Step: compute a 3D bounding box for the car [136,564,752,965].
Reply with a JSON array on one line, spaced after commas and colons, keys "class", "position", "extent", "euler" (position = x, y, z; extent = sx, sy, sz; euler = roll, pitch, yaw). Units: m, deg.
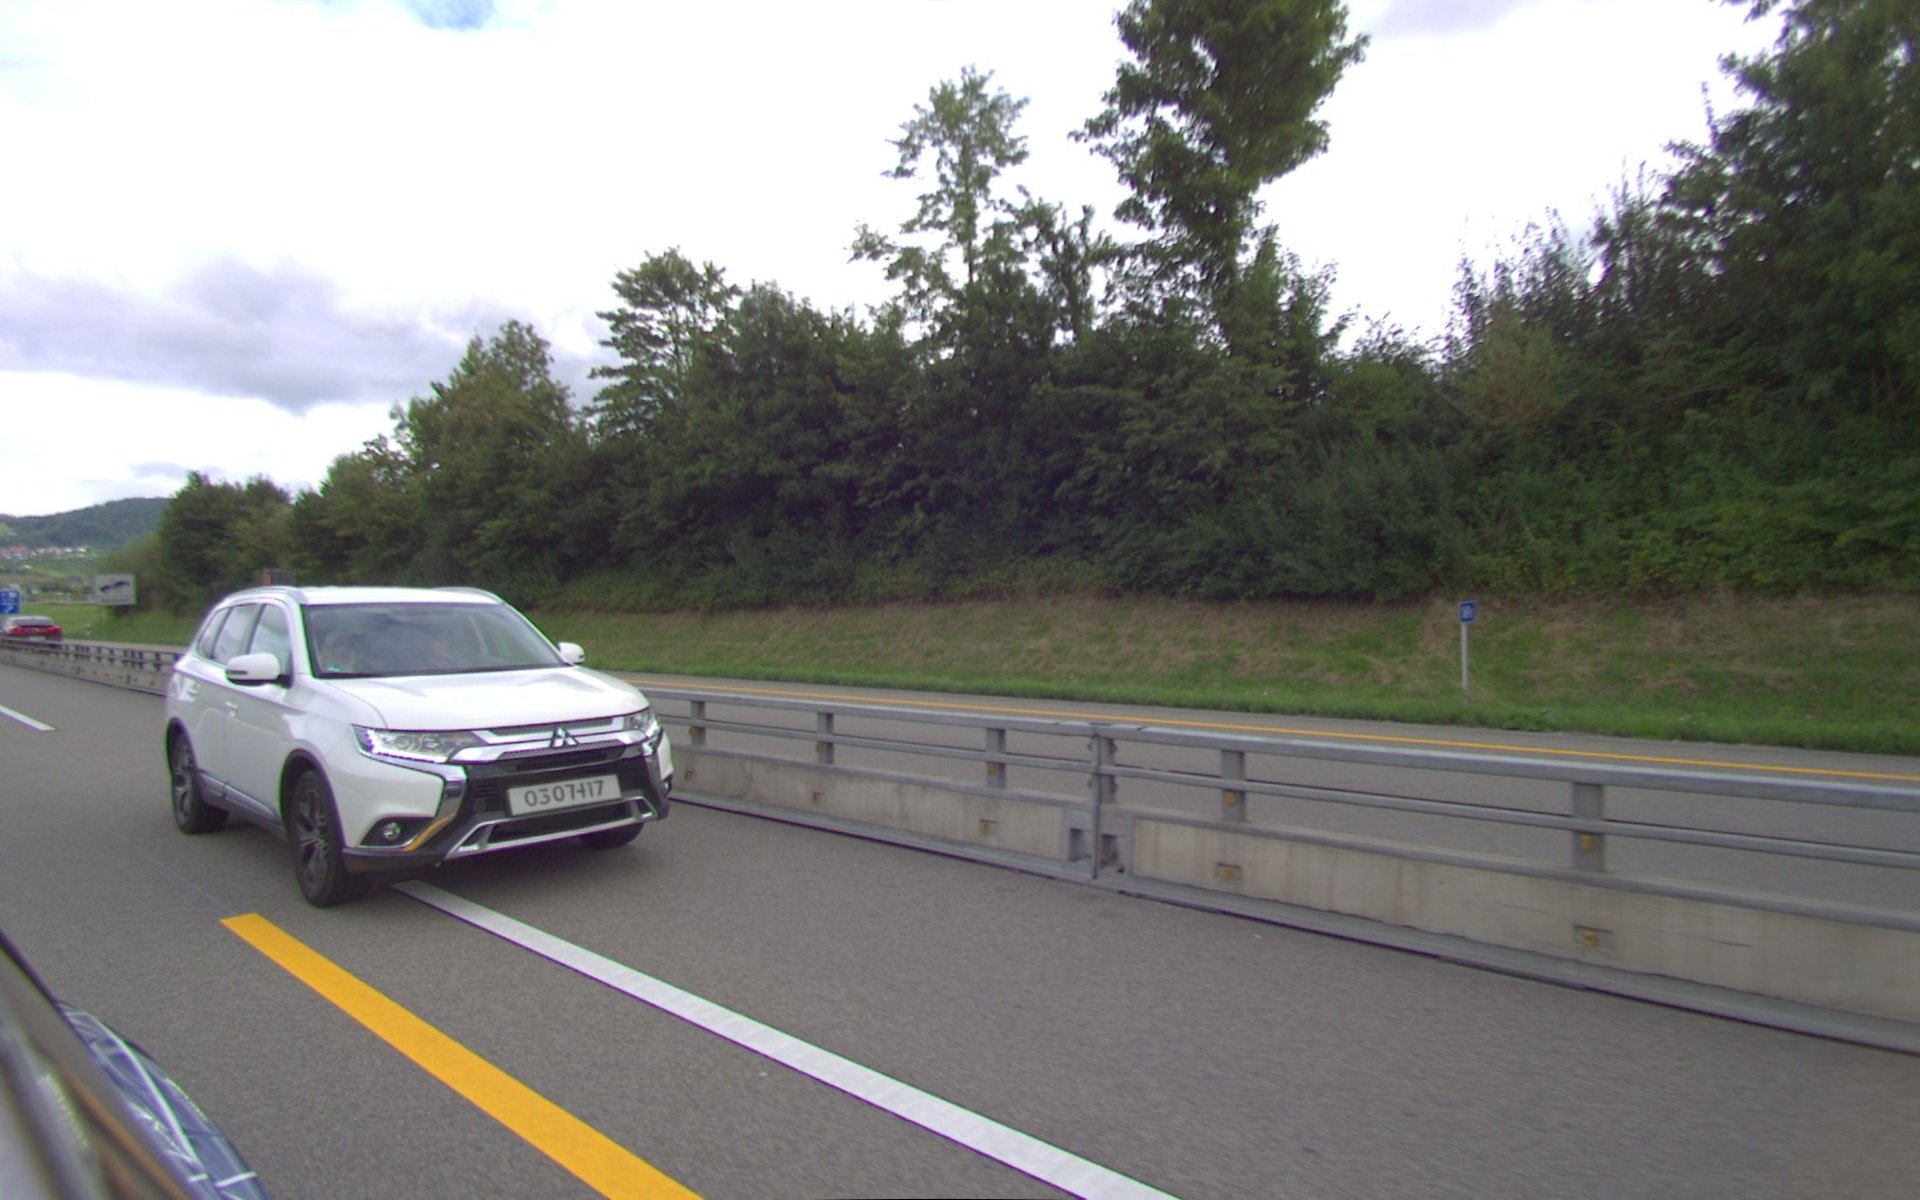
[{"class": "car", "position": [-3.526, 0.716, 6.431], "extent": [4.605, 1.640, 1.972], "euler": [-1, -1, 42]}]

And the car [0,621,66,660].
[{"class": "car", "position": [-39.610, 1.680, 42.939], "extent": [4.587, 1.502, 1.914], "euler": [-1, 1, 41]}]
